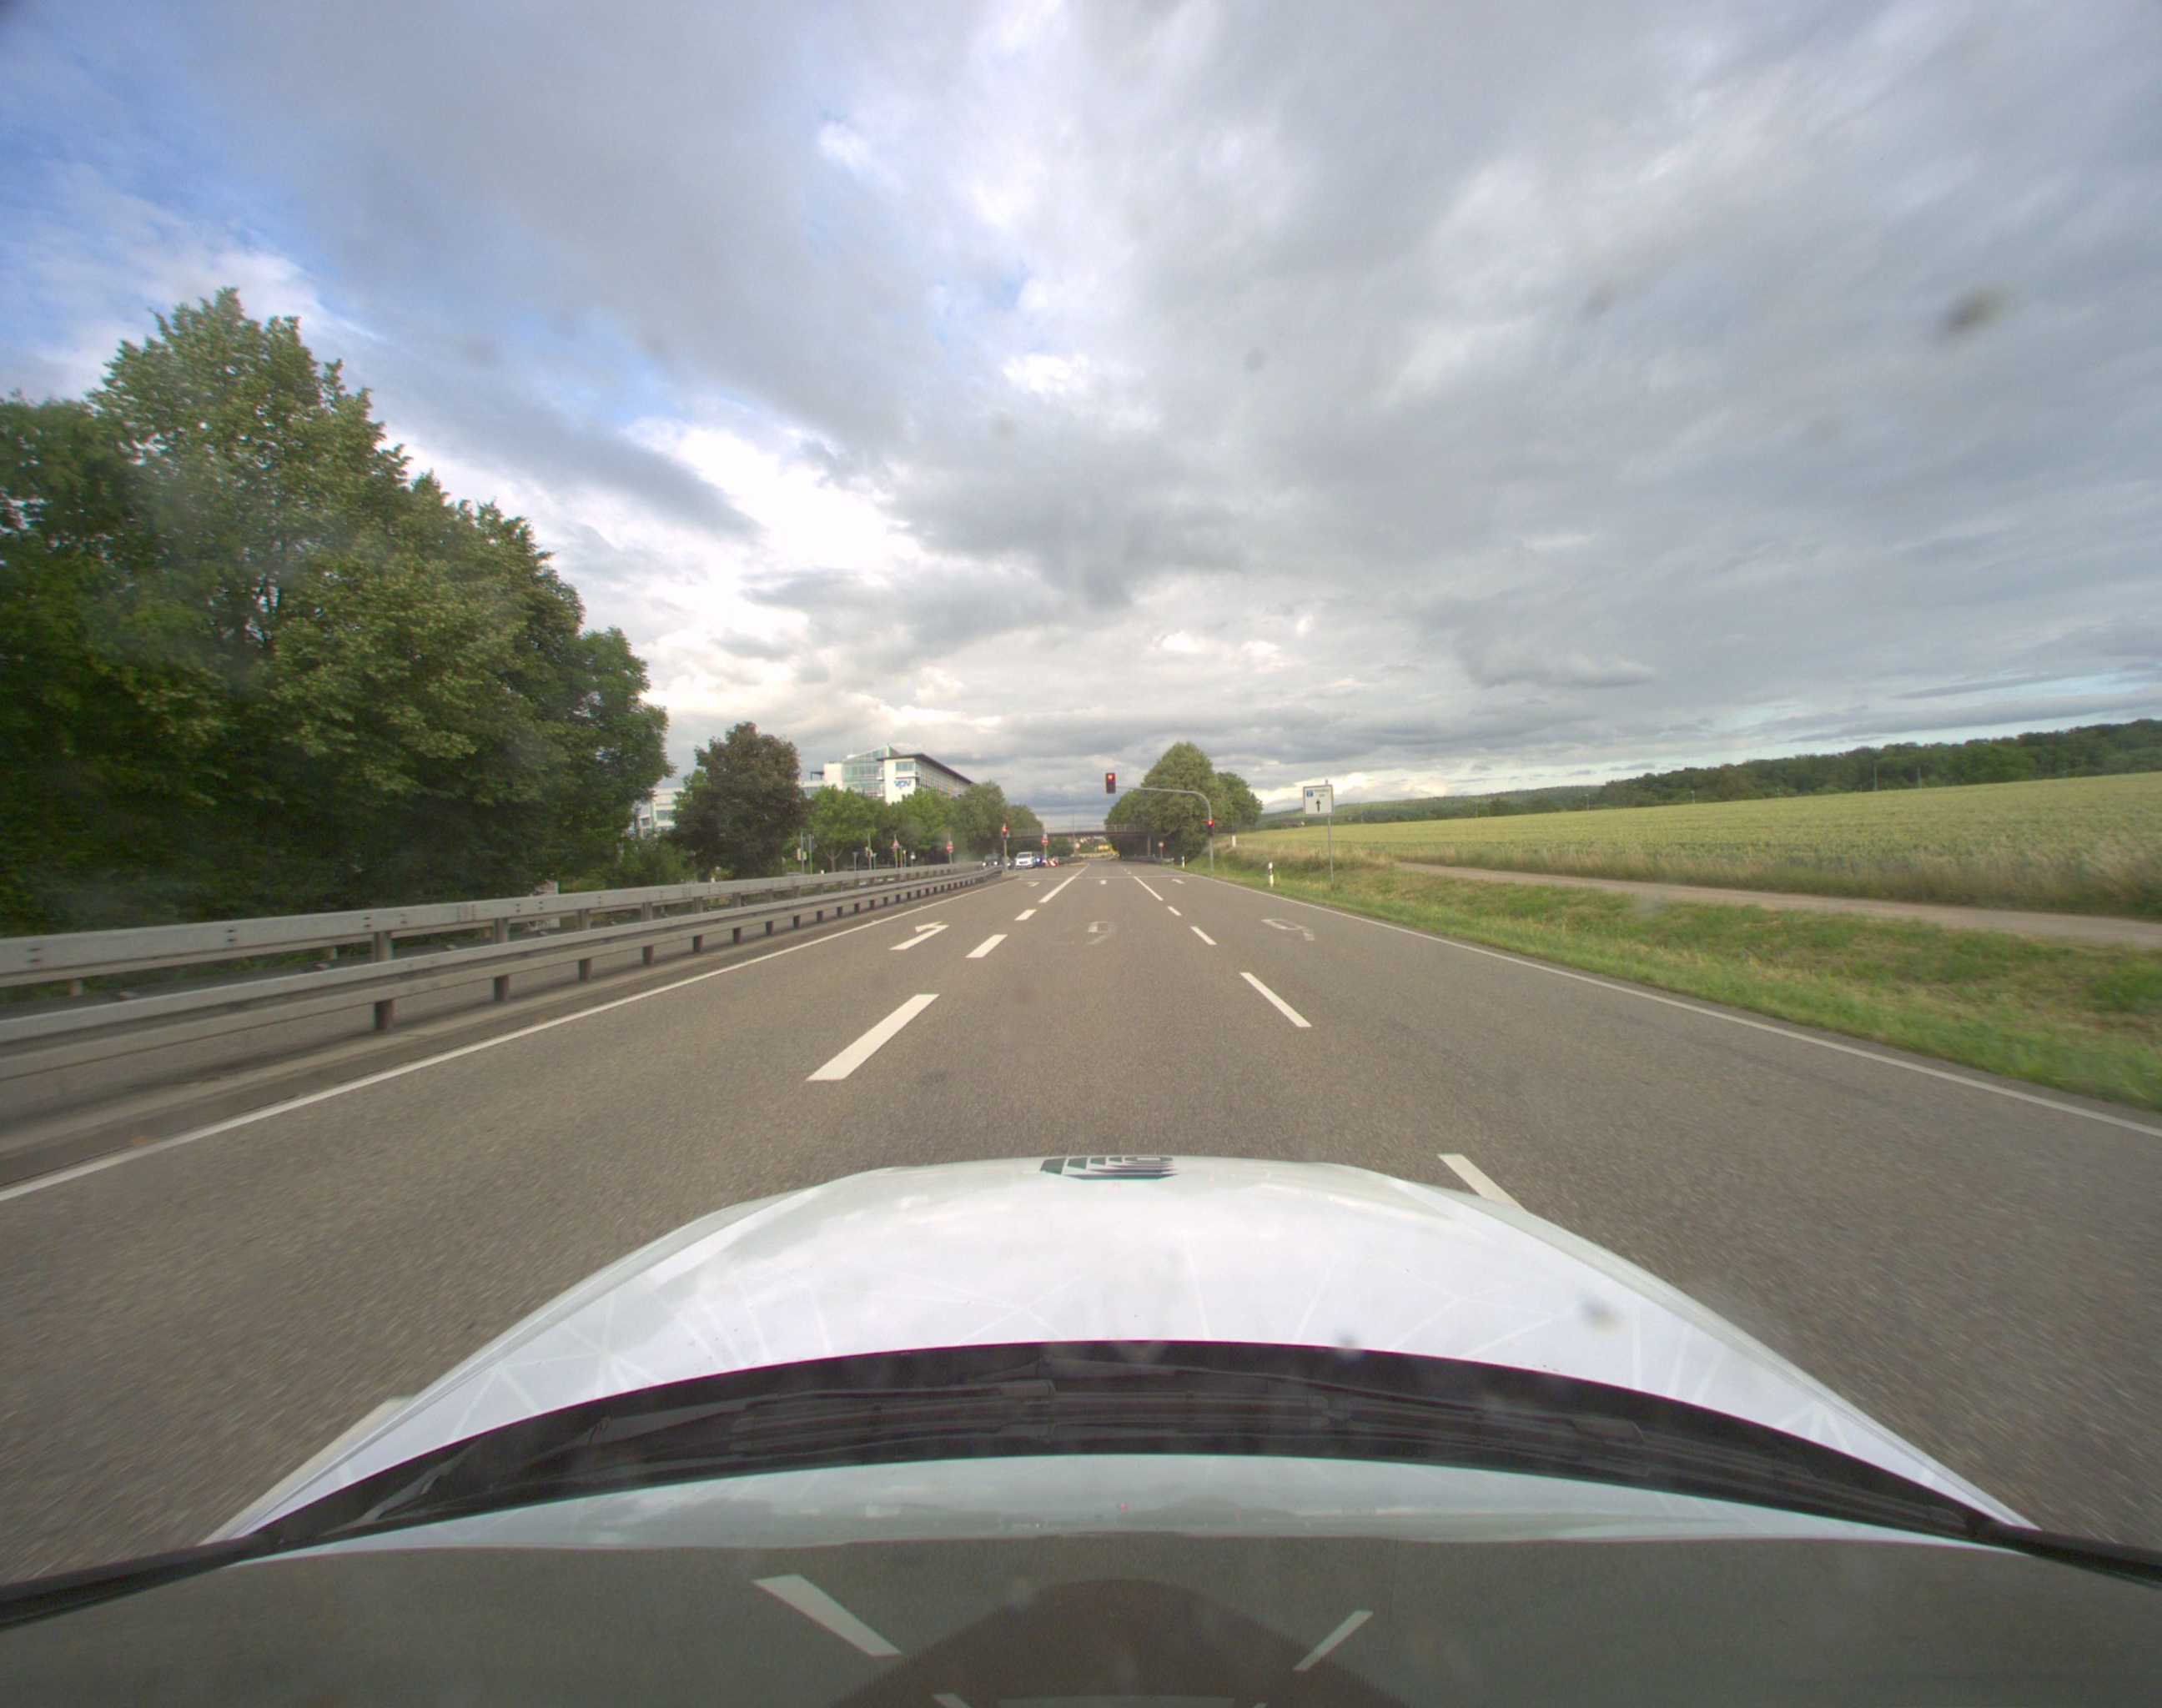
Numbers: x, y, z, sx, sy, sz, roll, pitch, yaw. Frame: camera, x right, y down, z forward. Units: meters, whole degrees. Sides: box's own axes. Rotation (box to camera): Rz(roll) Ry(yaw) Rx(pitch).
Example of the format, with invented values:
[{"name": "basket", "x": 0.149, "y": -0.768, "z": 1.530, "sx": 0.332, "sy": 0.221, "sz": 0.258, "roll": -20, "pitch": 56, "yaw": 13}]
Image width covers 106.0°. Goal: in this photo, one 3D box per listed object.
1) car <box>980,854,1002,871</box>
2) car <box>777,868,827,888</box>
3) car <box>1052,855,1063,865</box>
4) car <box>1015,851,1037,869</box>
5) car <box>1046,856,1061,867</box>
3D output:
[{"name": "car", "x": -10.070, "y": 0.905, "z": 91.515, "sx": 1.862, "sy": 1.754, "sz": 4.050, "roll": -2, "pitch": 1, "yaw": 2}, {"name": "car", "x": -23.515, "y": 1.994, "z": 68.811, "sx": 3.712, "sy": 1.539, "sz": 1.727, "roll": -2, "pitch": 0, "yaw": -12}, {"name": "car", "x": -3.007, "y": 0.814, "z": 106.125, "sx": 1.308, "sy": 1.229, "sz": 2.922, "roll": -2, "pitch": 1, "yaw": 0}, {"name": "car", "x": -6.174, "y": 0.631, "z": 91.644, "sx": 1.941, "sy": 1.873, "sz": 4.739, "roll": -2, "pitch": 1, "yaw": 2}, {"name": "car", "x": -2.974, "y": 0.779, "z": 89.585, "sx": 1.352, "sy": 1.092, "sz": 2.924, "roll": -2, "pitch": 1, "yaw": 2}]
